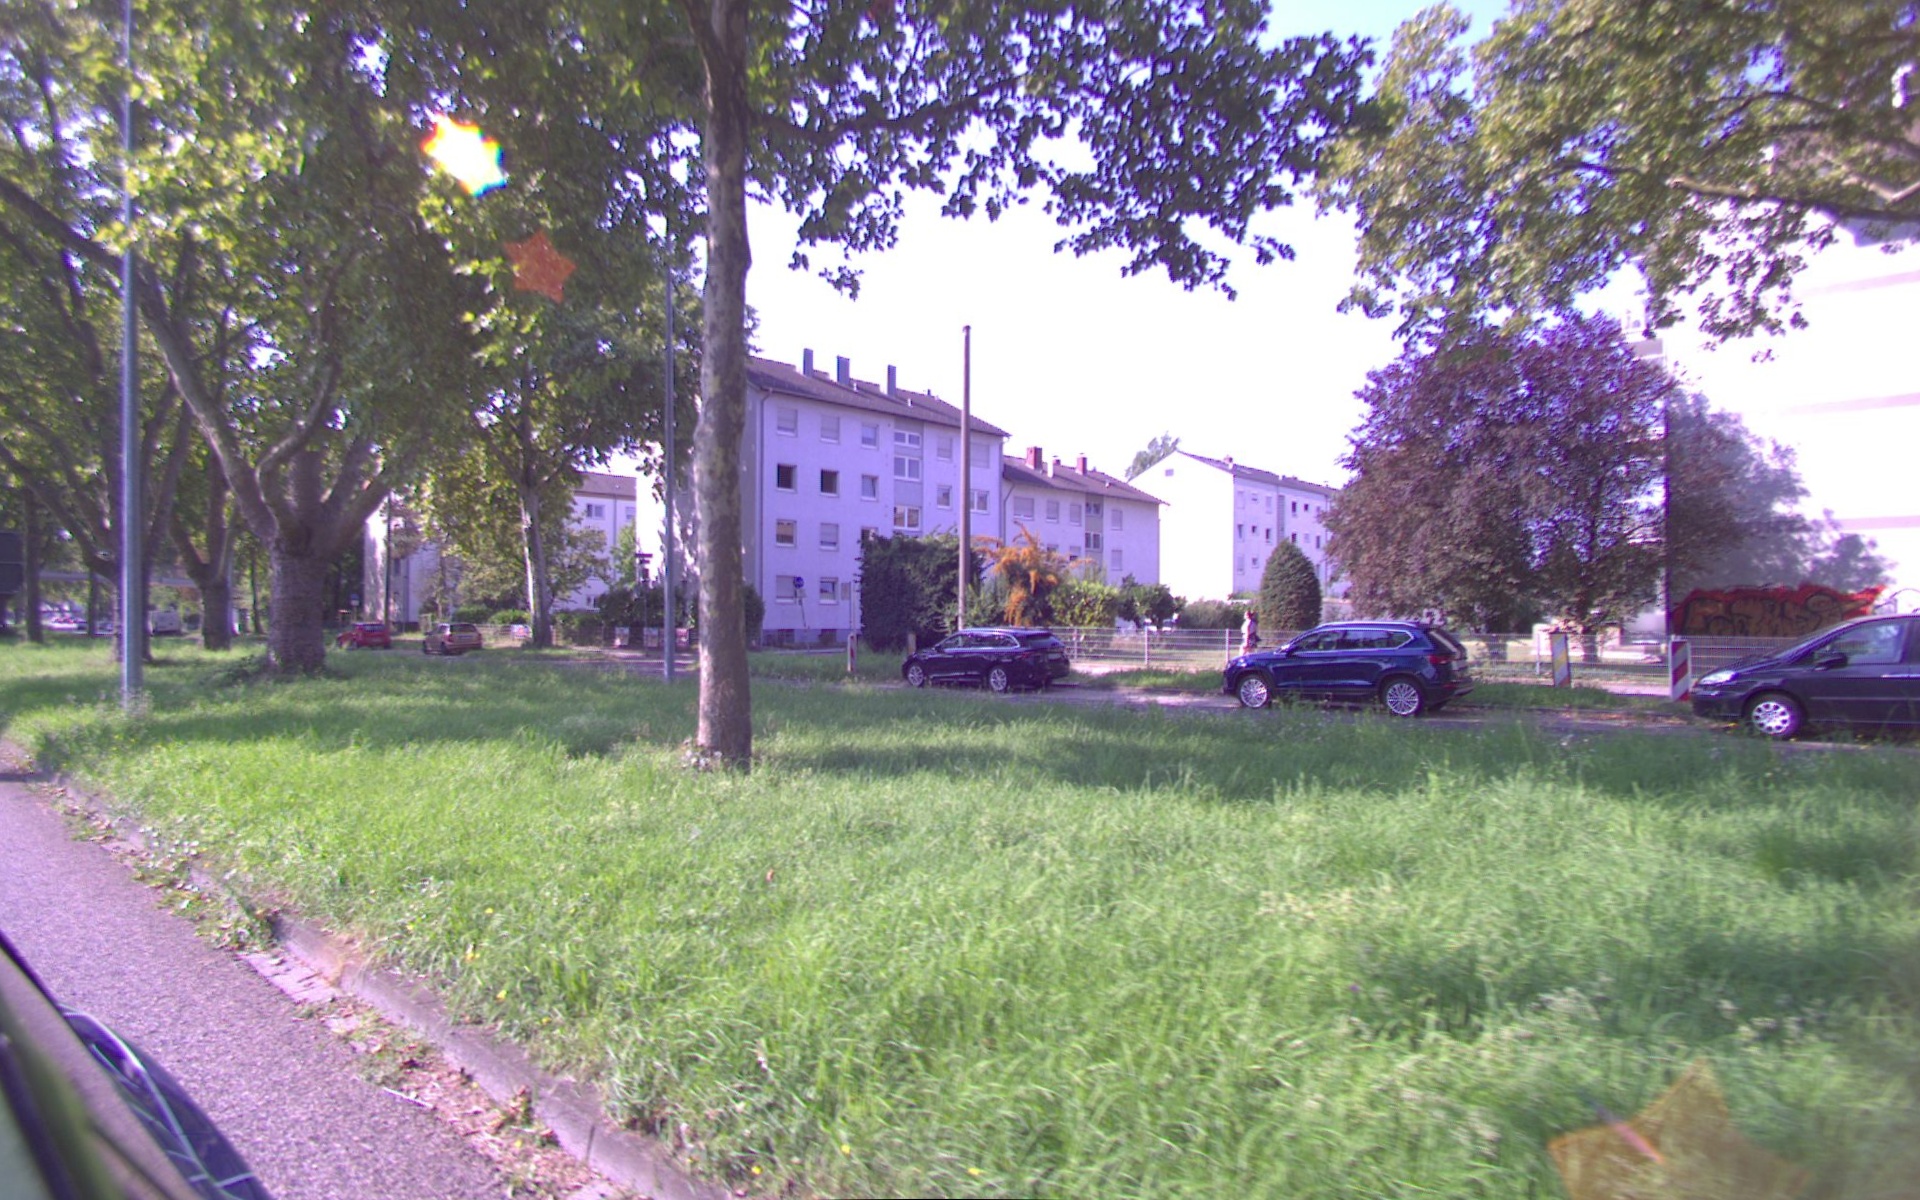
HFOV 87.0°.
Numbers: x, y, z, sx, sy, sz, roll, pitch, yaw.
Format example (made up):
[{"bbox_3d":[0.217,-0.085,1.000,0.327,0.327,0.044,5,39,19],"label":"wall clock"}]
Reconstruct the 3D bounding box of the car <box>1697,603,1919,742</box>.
[{"bbox_3d":[12.690,0.924,13.337,4.659,1.745,1.681,-1,-1,43],"label":"car"}]

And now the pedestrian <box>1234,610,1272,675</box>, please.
[{"bbox_3d":[7.538,1.079,26.042,0.734,1.658,0.640,-1,-1,41],"label":"pedestrian"}]

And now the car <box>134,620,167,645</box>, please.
[{"bbox_3d":[-82.835,3.262,103.507,2.181,2.498,6.067,1,-1,-43],"label":"car"}]

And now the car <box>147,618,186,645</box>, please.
[{"bbox_3d":[-76.906,3.013,98.021,2.183,2.448,6.269,-2,1,-45],"label":"car"}]

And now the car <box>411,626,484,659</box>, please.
[{"bbox_3d":[-23.470,1.905,46.285,4.065,1.441,1.782,-2,-1,44],"label":"car"}]

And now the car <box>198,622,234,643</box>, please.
[{"bbox_3d":[-57.966,2.553,78.843,3.864,1.544,1.506,0,-2,43],"label":"car"}]

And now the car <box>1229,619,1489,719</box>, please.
[{"bbox_3d":[7.032,1.146,18.071,4.000,1.580,1.681,-1,-2,43],"label":"car"}]

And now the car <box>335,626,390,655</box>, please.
[{"bbox_3d":[-32.062,2.151,54.250,4.065,1.462,1.521,-1,-1,44],"label":"car"}]

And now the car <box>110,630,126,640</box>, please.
[{"bbox_3d":[-123.252,5.109,148.091,1.625,1.490,3.903,1,-1,-43],"label":"car"}]

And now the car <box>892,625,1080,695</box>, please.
[{"bbox_3d":[0.544,1.364,24.342,4.540,1.519,1.681,-1,-2,43],"label":"car"}]

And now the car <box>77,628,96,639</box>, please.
[{"bbox_3d":[-133.353,5.135,154.509,4.721,1.733,1.782,-2,-3,44],"label":"car"}]
